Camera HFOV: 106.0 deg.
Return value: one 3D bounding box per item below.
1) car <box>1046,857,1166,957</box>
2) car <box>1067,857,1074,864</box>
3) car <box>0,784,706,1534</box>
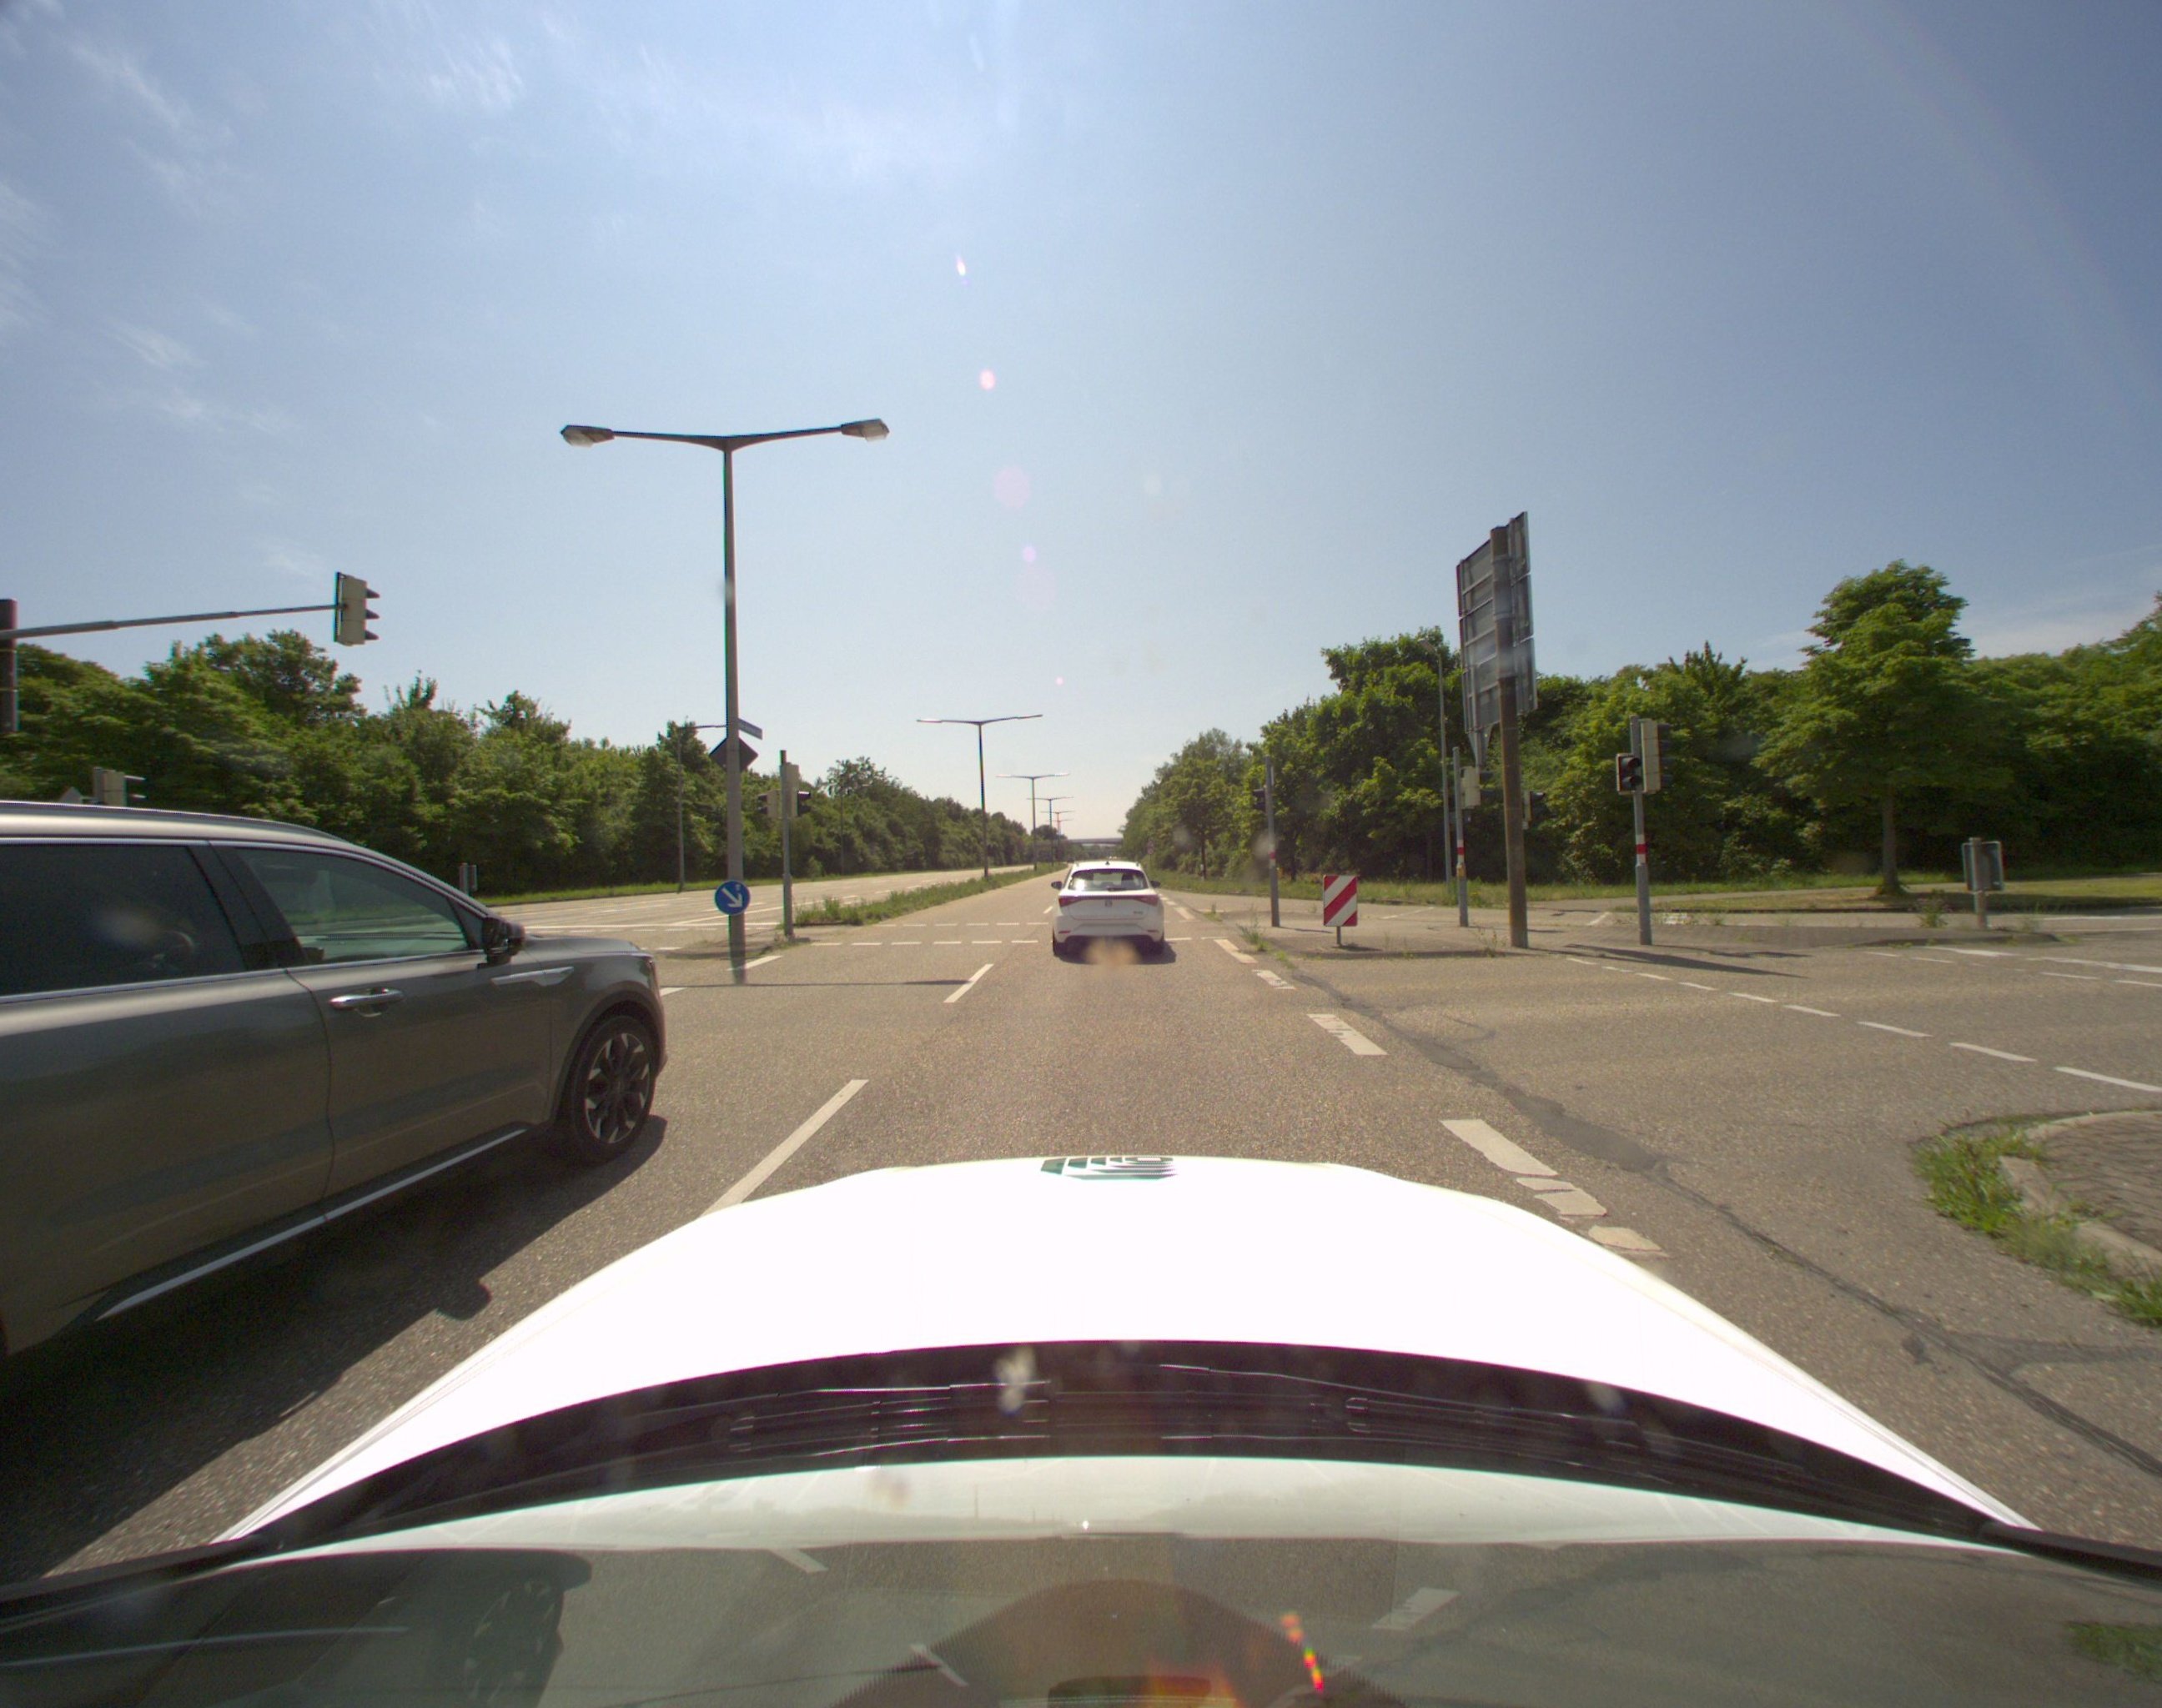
[{"bbox_3d":[0.443,0.787,13.625,1.727,1.428,3.696,0,-1,2],"label":"car"},{"bbox_3d":[-2.843,1.813,225.424,1.848,1.709,4.001,-3,0,1],"label":"car"},{"bbox_3d":[-3.278,0.700,2.623,1.797,1.662,4.647,-1,0,2],"label":"car"}]
